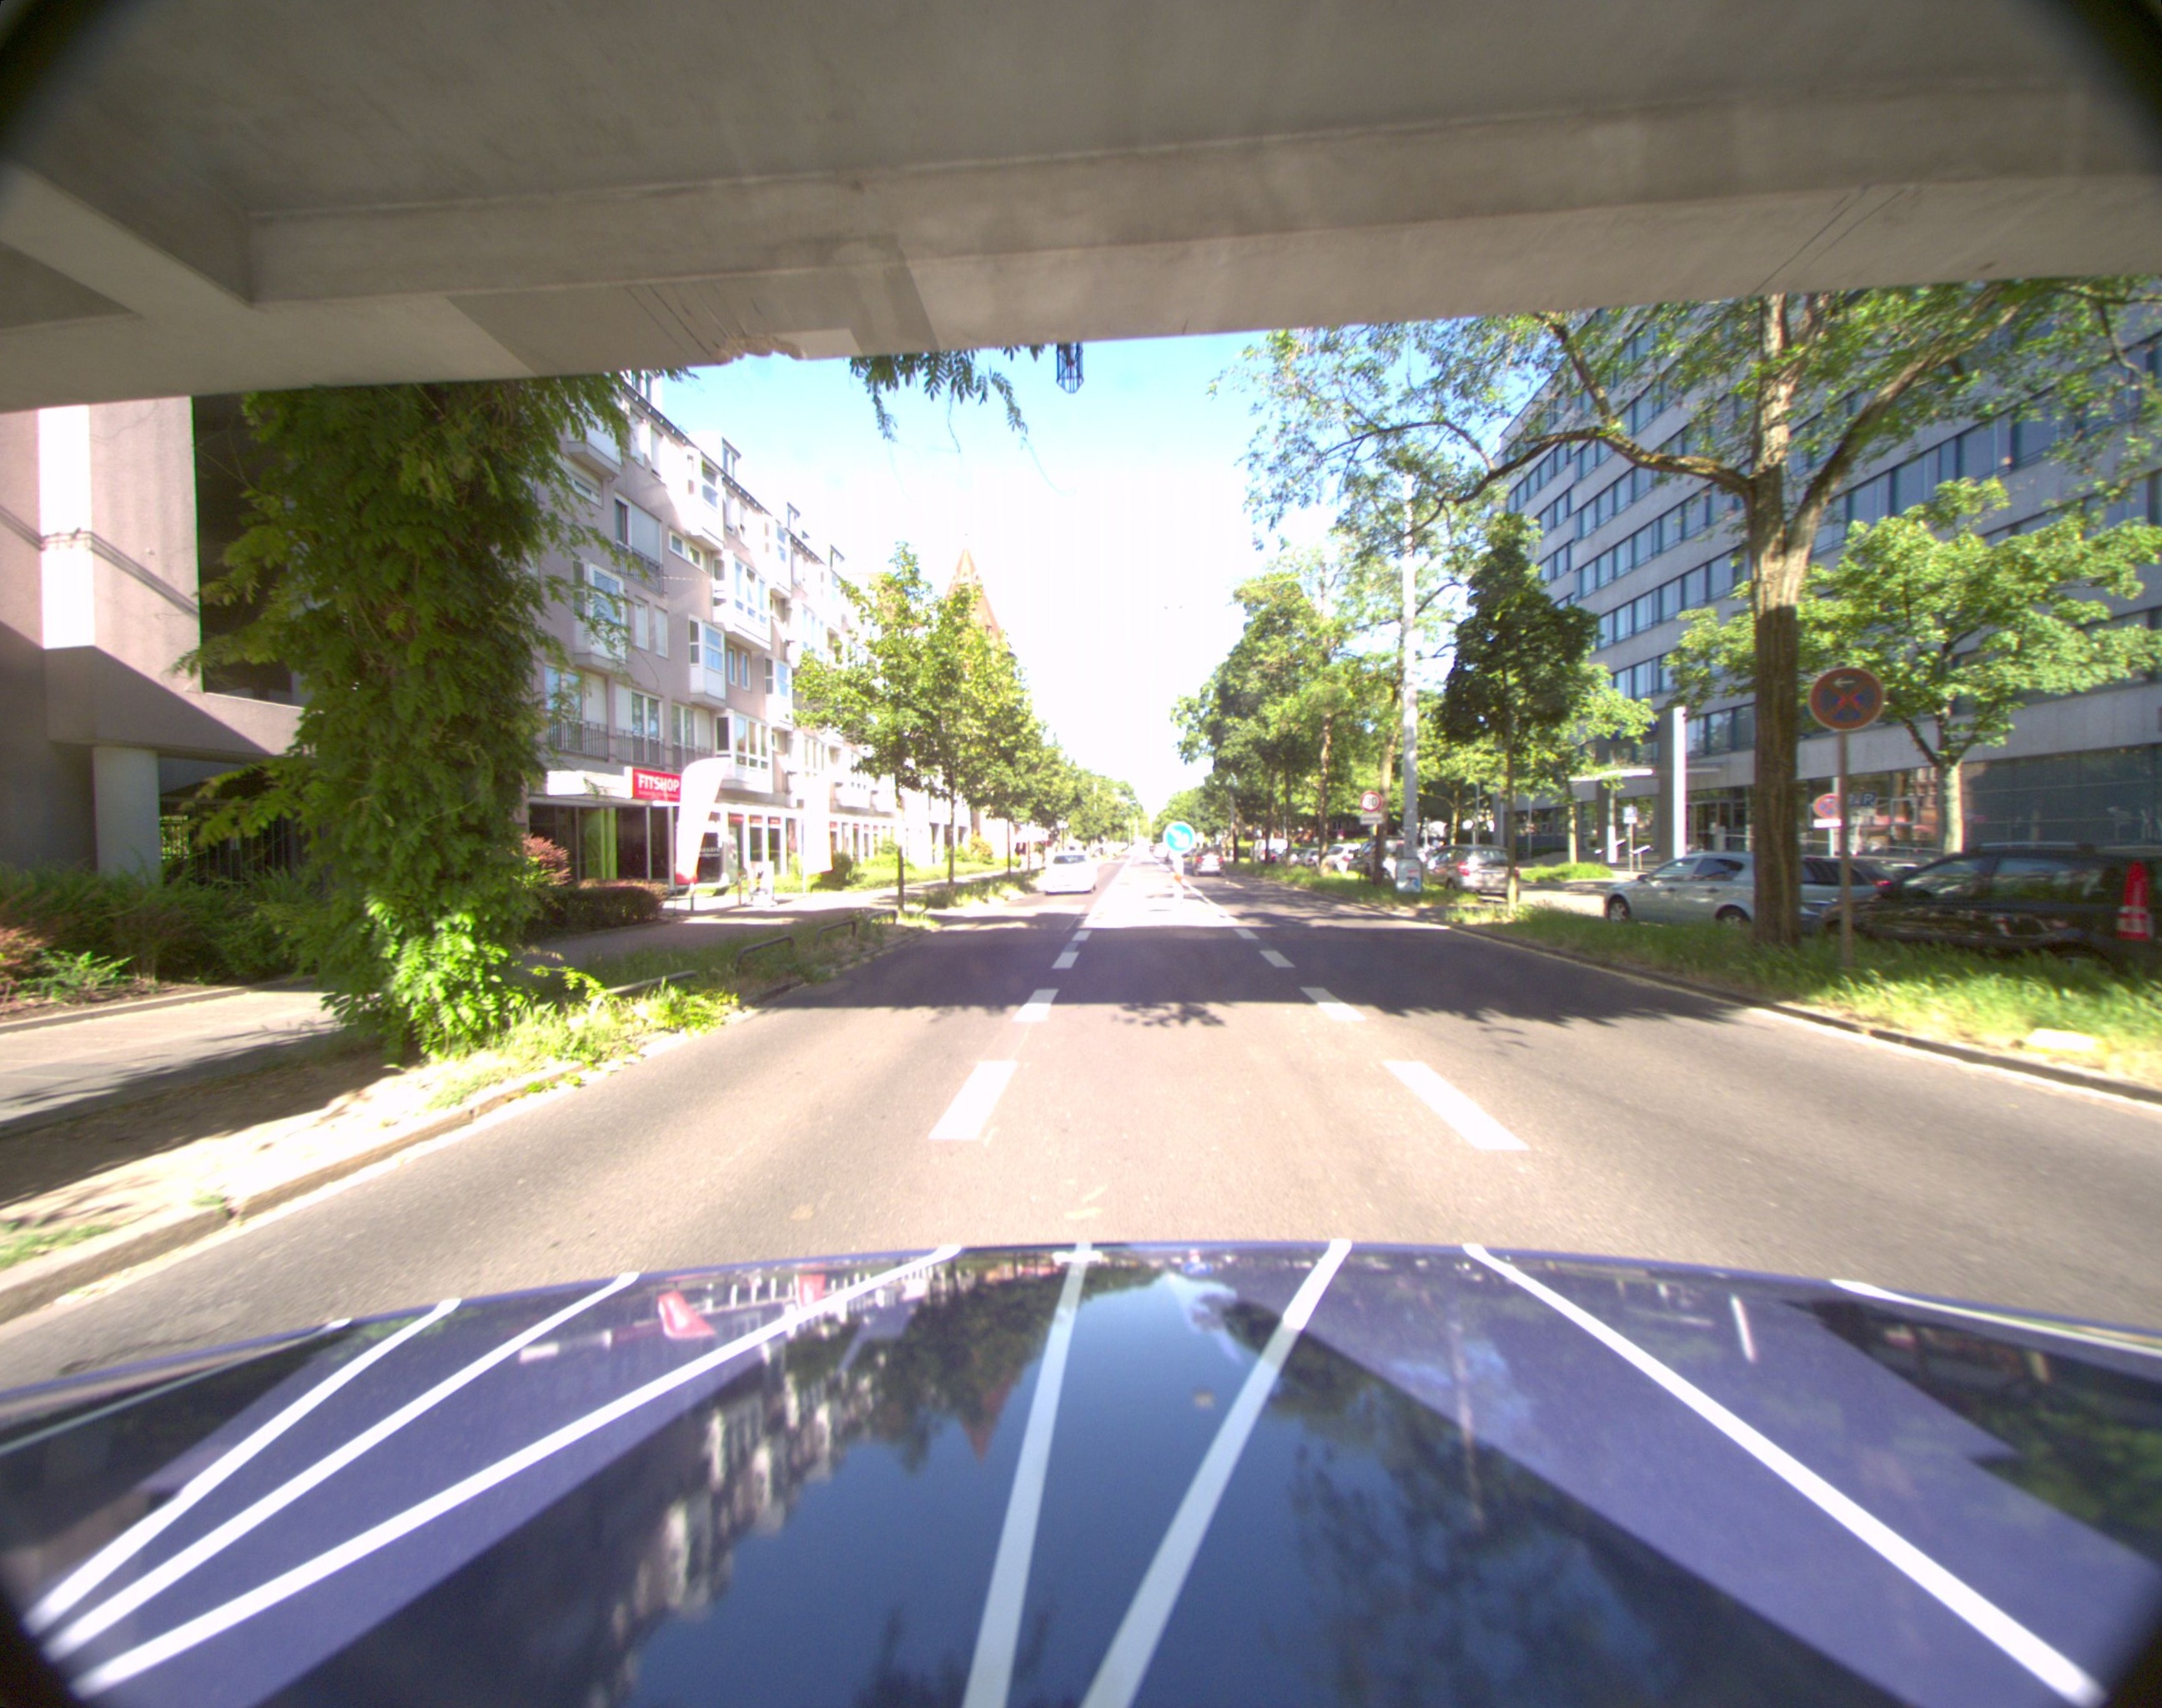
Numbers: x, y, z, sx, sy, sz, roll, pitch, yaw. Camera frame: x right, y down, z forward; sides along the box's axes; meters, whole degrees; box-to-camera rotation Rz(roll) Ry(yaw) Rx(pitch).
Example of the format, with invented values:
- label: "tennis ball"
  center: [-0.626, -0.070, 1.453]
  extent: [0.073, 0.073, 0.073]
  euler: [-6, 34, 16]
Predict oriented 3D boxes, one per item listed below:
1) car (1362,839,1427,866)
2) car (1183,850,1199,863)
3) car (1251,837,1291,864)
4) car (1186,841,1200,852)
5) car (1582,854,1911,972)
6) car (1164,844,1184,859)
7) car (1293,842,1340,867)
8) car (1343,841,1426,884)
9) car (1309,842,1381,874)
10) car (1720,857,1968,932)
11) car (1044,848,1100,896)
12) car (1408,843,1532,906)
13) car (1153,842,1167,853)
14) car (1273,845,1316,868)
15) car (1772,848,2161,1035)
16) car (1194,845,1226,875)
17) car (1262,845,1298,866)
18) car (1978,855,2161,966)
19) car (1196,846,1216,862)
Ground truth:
- label: "car"
  center: [22.717, -0.094, 55.177]
  extent: [3.994, 1.704, 1.706]
  euler: [-3, 1, 10]
- label: "car"
  center: [12.941, 0.278, 89.439]
  extent: [1.605, 1.406, 4.001]
  euler: [-1, 1, 5]
- label: "car"
  center: [13.970, -0.300, 56.214]
  extent: [2.069, 1.898, 4.526]
  euler: [-1, 1, 3]
- label: "car"
  center: [15.463, -1.028, 105.180]
  extent: [1.605, 1.406, 4.001]
  euler: [-1, 1, 5]
- label: "car"
  center: [10.336, 0.789, 12.345]
  extent: [1.656, 1.440, 4.282]
  euler: [3, 1, 3]
- label: "car"
  center: [9.629, -0.298, 78.706]
  extent: [1.791, 1.414, 4.189]
  euler: [1, 1, 4]
- label: "car"
  center: [12.467, -0.016, 40.374]
  extent: [1.655, 1.219, 3.848]
  euler: [-1, 1, 6]
- label: "car"
  center: [11.685, 0.258, 29.584]
  extent: [1.733, 1.540, 4.449]
  euler: [-1, 1, 4]
- label: "car"
  center: [12.296, 0.134, 35.654]
  extent: [1.720, 1.375, 4.491]
  euler: [-1, 1, -2]
- label: "car"
  center: [16.501, 0.797, 16.754]
  extent: [1.685, 1.395, 3.801]
  euler: [0, 1, 1]
- label: "car"
  center: [-0.251, 0.581, 27.176]
  extent: [1.663, 1.521, 4.100]
  euler: [-1, 1, 4]
- label: "car"
  center: [11.068, 0.524, 21.952]
  extent: [1.776, 1.637, 4.084]
  euler: [0, 1, 5]
- label: "car"
  center: [11.074, -0.915, 106.562]
  extent: [1.791, 1.575, 4.189]
  euler: [-1, 1, 4]
- label: "car"
  center: [12.899, 0.120, 46.132]
  extent: [1.656, 1.337, 3.970]
  euler: [-1, 1, 3]
- label: "car"
  center: [9.957, 0.741, 8.160]
  extent: [1.744, 1.530, 3.780]
  euler: [2, 1, 5]
- label: "car"
  center: [6.691, 0.291, 39.610]
  extent: [1.470, 1.519, 2.817]
  euler: [0, 1, 5]
- label: "car"
  center: [13.353, 0.065, 51.179]
  extent: [1.679, 1.325, 4.189]
  euler: [-1, 1, 5]
- label: "car"
  center: [16.195, 0.814, 11.041]
  extent: [1.736, 1.521, 4.001]
  euler: [0, 1, 4]
- label: "car"
  center: [12.893, -0.023, 78.350]
  extent: [1.740, 1.481, 4.001]
  euler: [-1, 1, 5]
